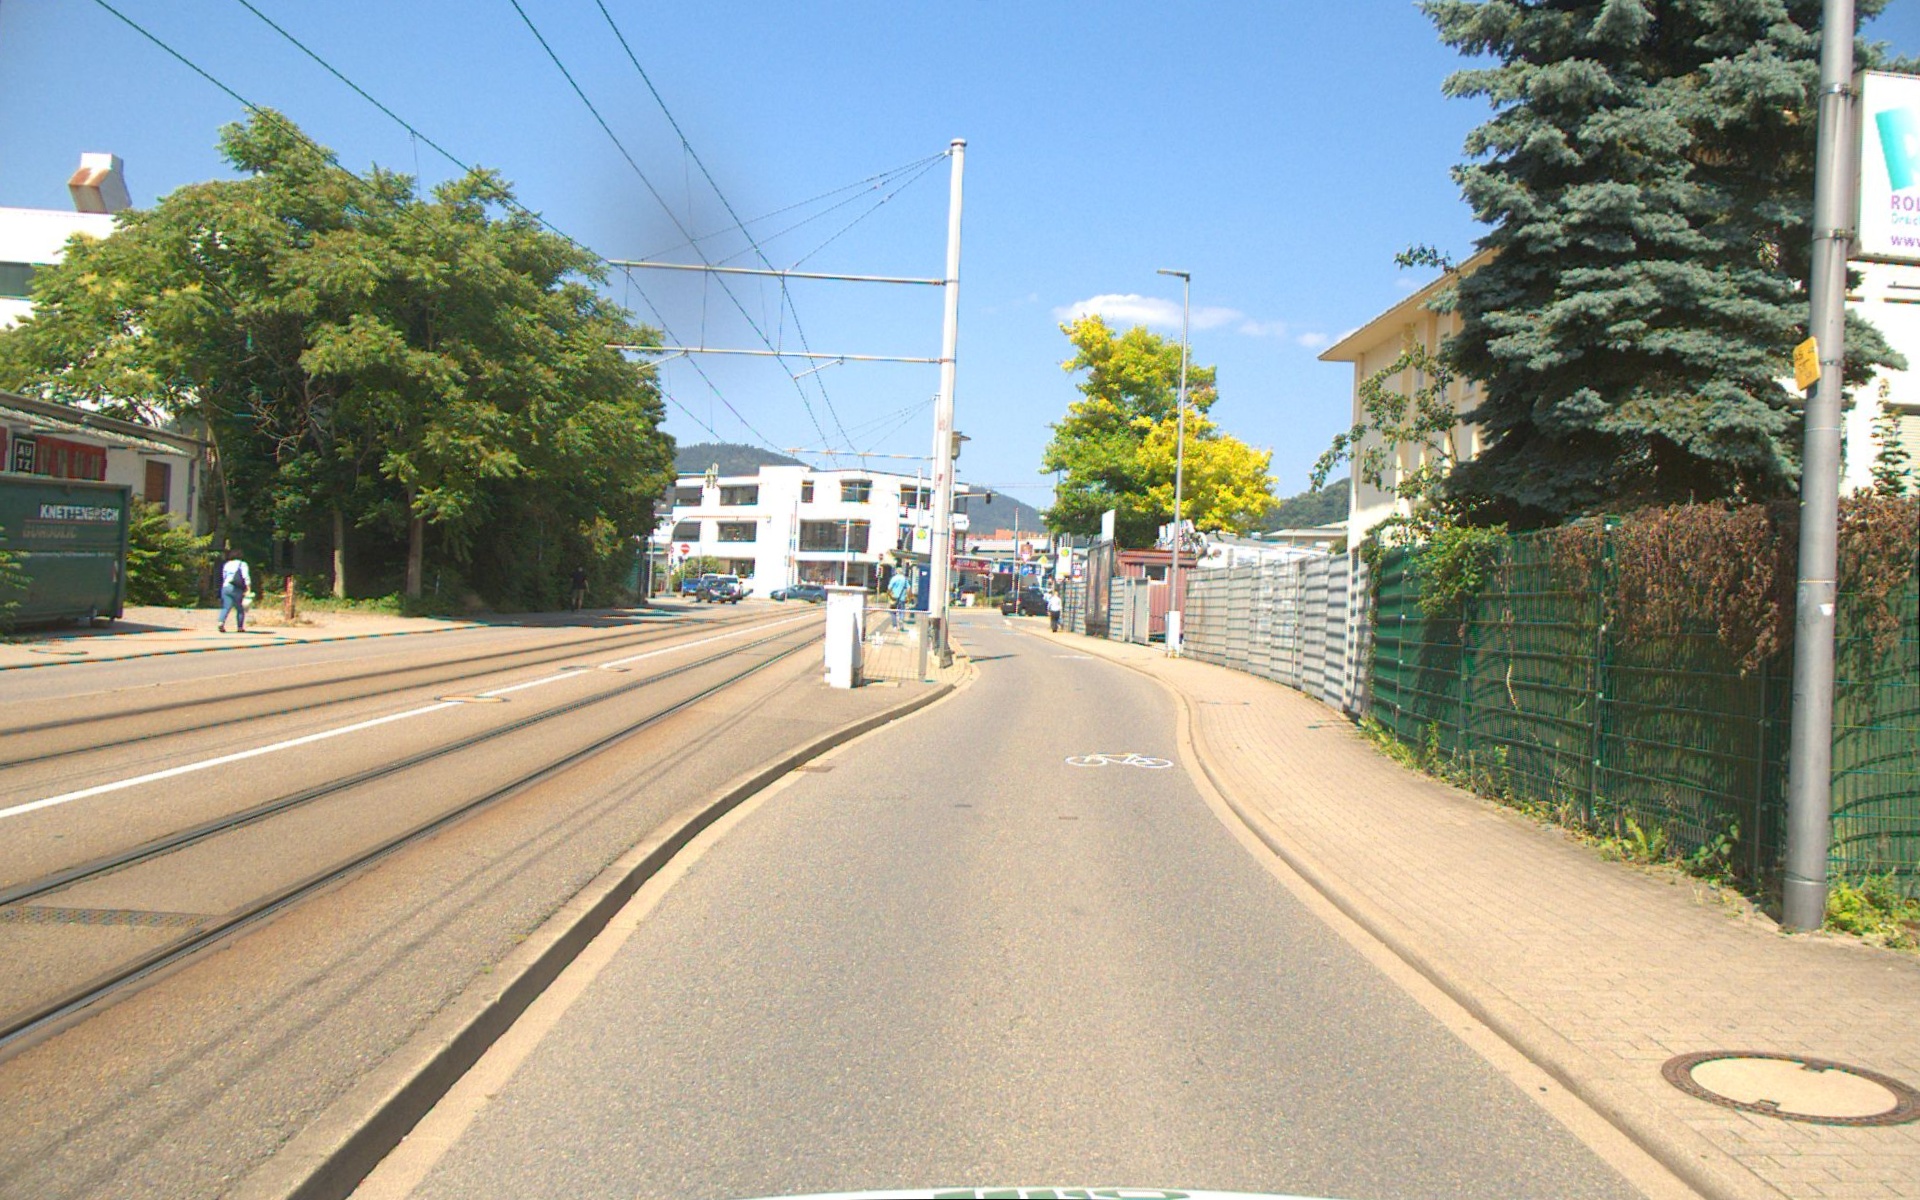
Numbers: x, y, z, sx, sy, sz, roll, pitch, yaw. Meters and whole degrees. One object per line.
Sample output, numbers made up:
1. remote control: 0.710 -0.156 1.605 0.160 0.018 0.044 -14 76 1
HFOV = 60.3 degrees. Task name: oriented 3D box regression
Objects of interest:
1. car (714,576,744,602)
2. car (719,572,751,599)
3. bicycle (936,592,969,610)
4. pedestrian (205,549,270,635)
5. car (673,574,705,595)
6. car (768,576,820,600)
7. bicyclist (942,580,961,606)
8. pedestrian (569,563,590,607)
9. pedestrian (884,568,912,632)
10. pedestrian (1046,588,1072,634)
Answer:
1. car: -16.166 -0.771 115.783 1.721 1.676 3.760 2 0 -3
2. car: -13.773 -0.873 101.352 1.752 1.579 3.995 2 0 -6
3. bicycle: -0.584 0.094 131.568 2.401 1.207 1.114 4 3 -11
4. pedestrian: -13.627 -0.149 31.219 0.818 1.564 0.838 2 0 -2
5. car: -20.793 -1.179 126.645 1.730 1.515 3.740 2 0 -20
6. car: -12.865 -0.927 128.112 3.826 1.709 1.725 2 0 -13
7. bicyclist: -0.677 -0.576 131.491 1.269 1.937 1.088 4 3 -10
8. pedestrian: -13.880 -0.536 60.314 0.572 1.564 0.656 2 0 -2
9. pedestrian: -1.734 -0.001 46.441 0.728 1.771 0.727 2 0 -2
10. pedestrian: 4.078 0.434 68.301 0.921 1.818 0.953 3 1 -2
